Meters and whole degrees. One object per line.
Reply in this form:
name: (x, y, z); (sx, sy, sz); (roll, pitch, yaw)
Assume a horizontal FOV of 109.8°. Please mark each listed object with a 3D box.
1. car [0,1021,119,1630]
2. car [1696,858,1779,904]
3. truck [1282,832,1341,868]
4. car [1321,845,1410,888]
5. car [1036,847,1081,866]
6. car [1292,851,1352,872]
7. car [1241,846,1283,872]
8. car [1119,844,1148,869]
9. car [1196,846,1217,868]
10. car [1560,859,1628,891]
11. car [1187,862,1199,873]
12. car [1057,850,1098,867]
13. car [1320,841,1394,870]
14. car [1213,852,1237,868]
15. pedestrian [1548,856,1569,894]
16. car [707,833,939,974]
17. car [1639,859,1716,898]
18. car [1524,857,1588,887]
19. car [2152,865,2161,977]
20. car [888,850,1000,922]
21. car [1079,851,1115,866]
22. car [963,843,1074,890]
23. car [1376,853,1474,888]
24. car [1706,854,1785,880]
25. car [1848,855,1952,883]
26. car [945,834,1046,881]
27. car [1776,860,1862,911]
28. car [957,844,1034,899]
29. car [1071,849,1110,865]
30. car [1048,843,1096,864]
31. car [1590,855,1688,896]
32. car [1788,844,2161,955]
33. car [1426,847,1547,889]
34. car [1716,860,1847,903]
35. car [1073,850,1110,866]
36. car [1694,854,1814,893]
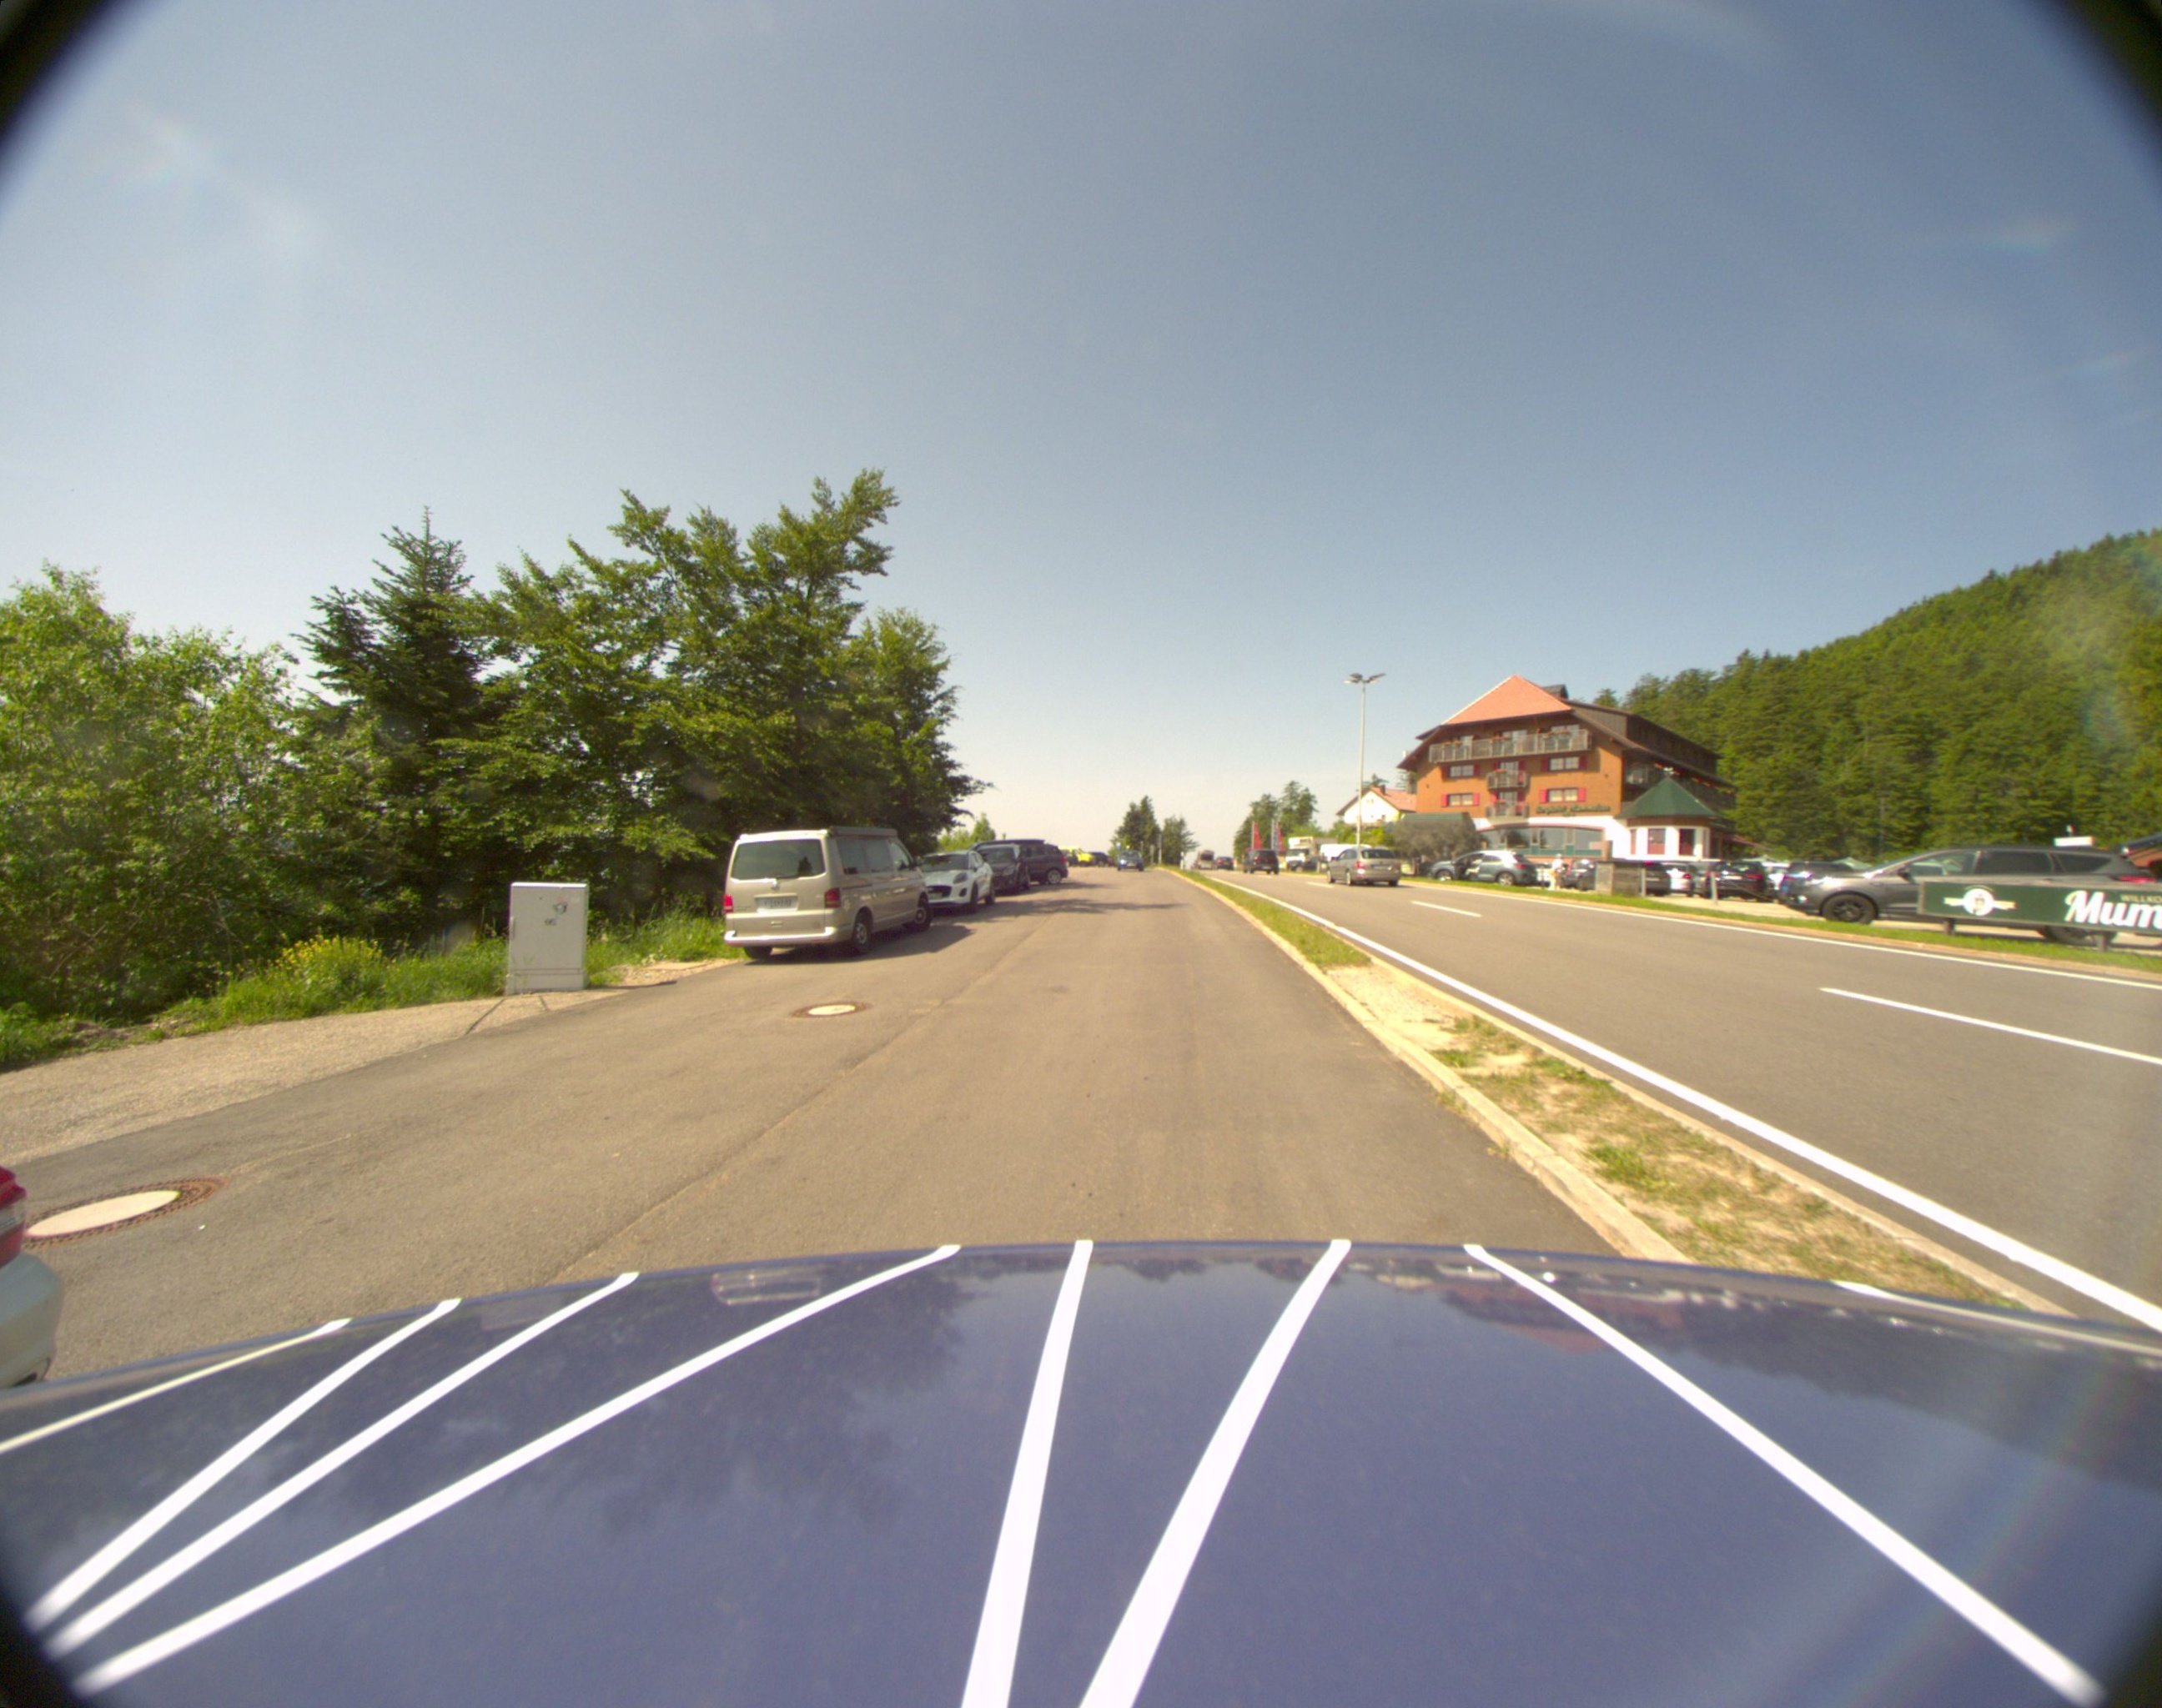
car: (-4.427, 1.161, 0.581); (4.413, 1.288, 1.754); (-3, 0, -12)
car: (25.846, 1.020, 29.869); (4.103, 1.619, 1.818); (0, 2, -41)
truck: (26.096, -0.423, 85.689); (2.876, 3.798, 9.037); (-1, 0, 41)
car: (10.687, 0.416, 28.907); (1.883, 1.466, 4.715); (-1, 1, 4)
car: (-2.066, 0.230, 71.062); (3.908, 1.605, 1.877); (1, 1, 6)
car: (19.015, 0.545, 60.136); (4.082, 1.518, 1.828); (2, 2, 43)
car: (12.010, 0.276, 50.741); (1.998, 1.638, 4.568); (1, 1, 4)
car: (3.554, 0.147, 51.997); (1.874, 1.605, 3.913); (1, 1, 4)
car: (16.120, 0.325, 97.666); (2.015, 2.735, 5.918); (1, 1, 4)
car: (26.341, 1.021, 38.958); (4.103, 1.504, 1.818); (0, 2, -41)
car: (19.114, 2.316, 129.381); (1.720, 1.672, 4.131); (1, 1, 4)
car: (-0.359, 0.420, 76.900); (3.908, 1.605, 1.877); (1, 1, 6)
car: (28.504, 0.115, 78.456); (6.948, 2.775, 2.671); (1, 1, 22)
car: (14.318, 0.590, 75.656); (1.710, 1.429, 4.450); (1, 1, 2)
pedestrian: (21.071, 0.918, 33.539); (0.744, 1.615, 0.684); (2, 2, 33)
car: (-4.094, 0.677, 13.047); (1.861, 1.924, 4.611); (-3, 1, 7)
car: (25.795, 1.007, 32.794); (4.103, 1.504, 1.818); (0, 2, -41)
car: (25.962, 0.938, 41.489); (4.103, 1.504, 1.818); (0, 2, -41)
car: (15.073, 0.916, 7.797); (1.726, 1.422, 4.488); (0, 2, -43)
car: (-3.350, 0.729, 19.374); (1.874, 1.538, 4.000); (-3, 1, 3)
car: (1.856, 0.452, 86.273); (3.908, 1.605, 1.877); (1, 1, 6)
car: (-2.502, 0.456, 30.001); (4.002, 1.609, 1.874); (-3, 1, -16)
car: (17.964, 0.821, 39.827); (1.828, 1.619, 4.258); (0, 2, -44)
car: (48.364, 0.897, 55.384); (1.924, 1.706, 4.082); (0, 2, -42)
car: (57.177, 1.004, 53.153); (1.924, 1.706, 4.831); (0, 2, -42)
car: (-4.074, 0.144, 35.982); (4.462, 1.914, 1.874); (-3, 1, -16)
car: (26.482, 1.074, 27.234); (4.103, 1.619, 1.818); (0, 2, -41)
car: (-2.780, 0.519, 25.499); (1.874, 1.609, 4.000); (-3, 1, 3)
car: (0.984, 0.317, 79.651); (3.908, 1.605, 1.877); (1, 1, 6)
car: (-0.816, -0.026, 73.696); (4.455, 1.914, 1.877); (1, 1, 6)
car: (22.294, 0.801, 30.551); (1.719, 1.422, 4.004); (2, 1, 14)
car: (16.126, 0.704, 13.911); (1.726, 1.646, 4.538); (0, 2, -45)
car: (17.705, 0.578, 33.282); (1.828, 1.619, 4.258); (0, 2, -44)
car: (30.764, 1.146, 33.458); (1.828, 1.619, 4.082); (0, 2, -44)
car: (1.147, 0.384, 82.258); (3.908, 1.605, 1.877); (1, 1, 6)
car: (32.018, 0.873, 36.241); (1.828, 1.619, 4.082); (0, 2, -44)
